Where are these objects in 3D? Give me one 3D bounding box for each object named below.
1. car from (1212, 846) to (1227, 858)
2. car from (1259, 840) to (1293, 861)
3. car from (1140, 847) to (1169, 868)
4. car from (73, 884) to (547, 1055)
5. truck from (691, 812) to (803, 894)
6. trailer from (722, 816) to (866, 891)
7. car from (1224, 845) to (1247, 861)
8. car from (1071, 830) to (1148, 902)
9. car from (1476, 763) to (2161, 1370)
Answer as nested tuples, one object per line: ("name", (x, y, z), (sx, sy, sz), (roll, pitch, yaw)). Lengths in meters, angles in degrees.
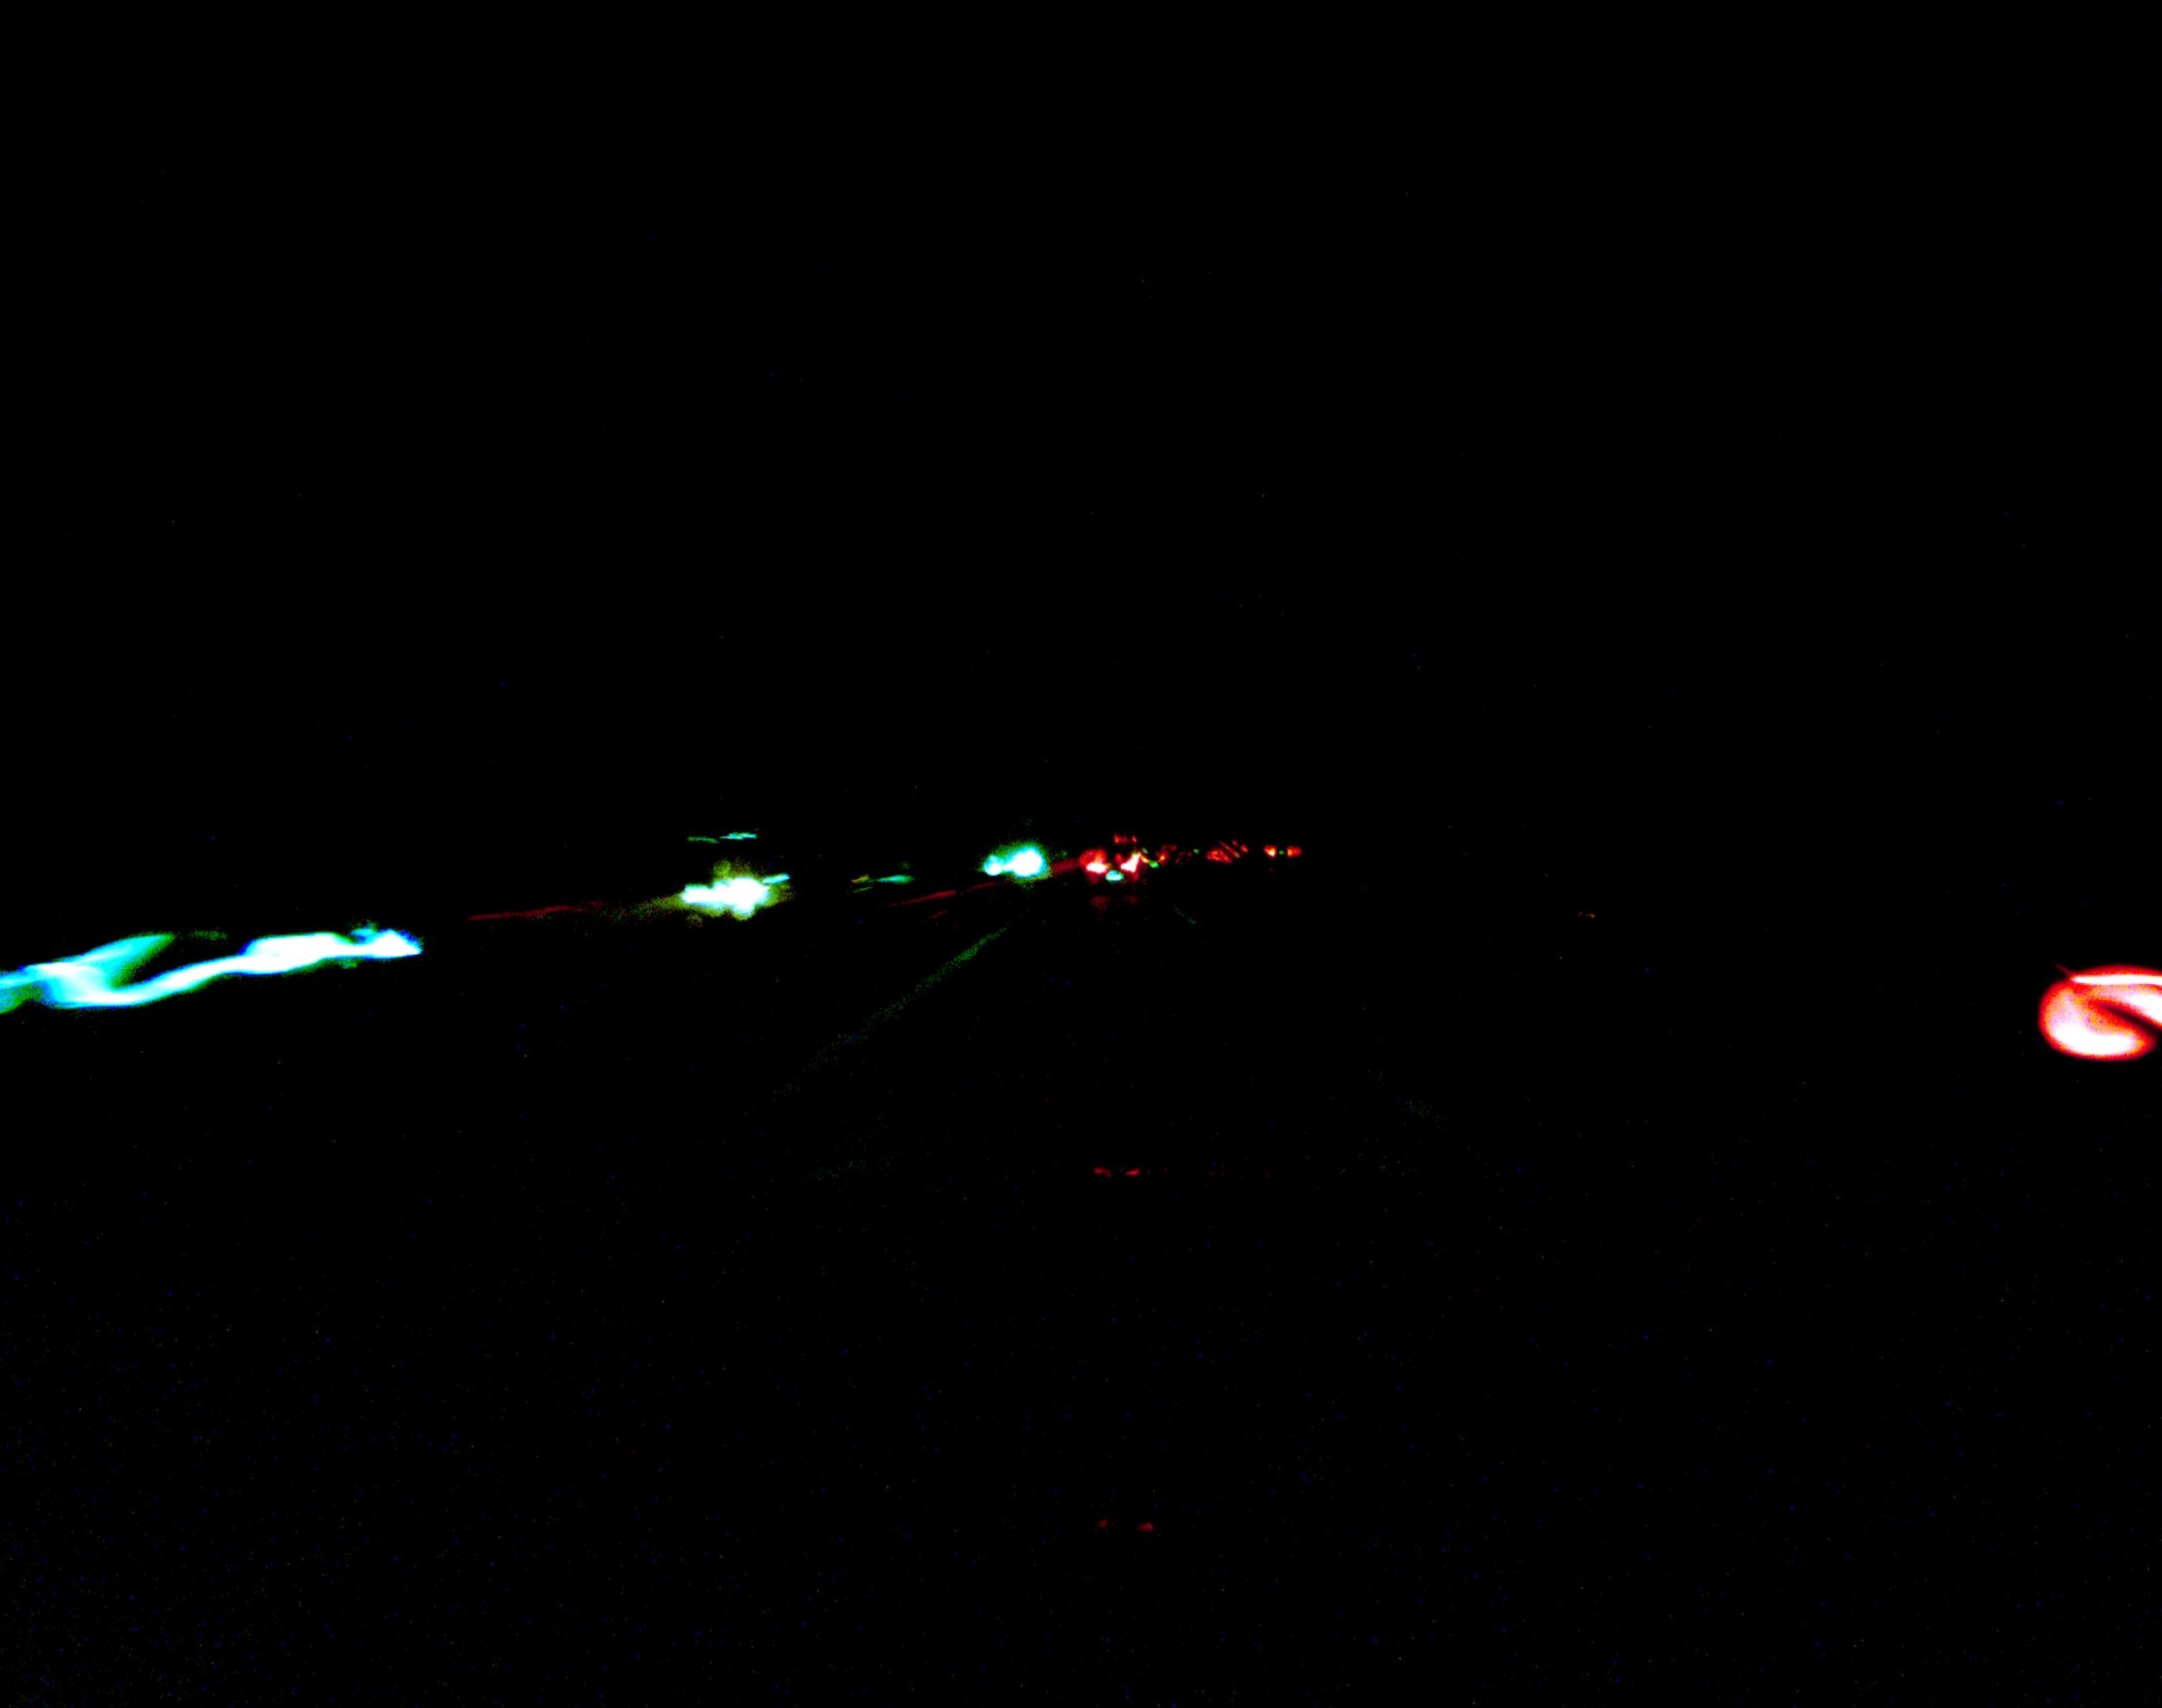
("car", (18.573, -0.279, 109.461), (1.704, 1.558, 4.007), (0, 0, 6))
("car", (15.061, -0.265, 62.933), (1.848, 1.618, 4.003), (0, 0, 3))
("car", (5.752, 0.302, 64.485), (2.128, 1.618, 4.003), (0, 0, 3))
("car", (-8.682, 1.177, 9.785), (1.773, 1.442, 4.002), (-2, 0, 2))
("truck", (-15.908, -0.036, 39.286), (2.631, 3.580, 6.178), (-1, 0, 2))
("trailer", (-15.691, -0.025, 46.283), (2.630, 3.570, 14.162), (-1, 0, 2))
("car", (16.394, -0.111, 86.694), (1.848, 1.618, 4.002), (0, 0, 2))
("car", (1.071, 0.411, 32.983), (2.701, 2.533, 5.831), (-3, 1, 0))
("car", (3.822, 0.538, 4.046), (1.877, 1.588, 4.002), (-1, 0, 2))
